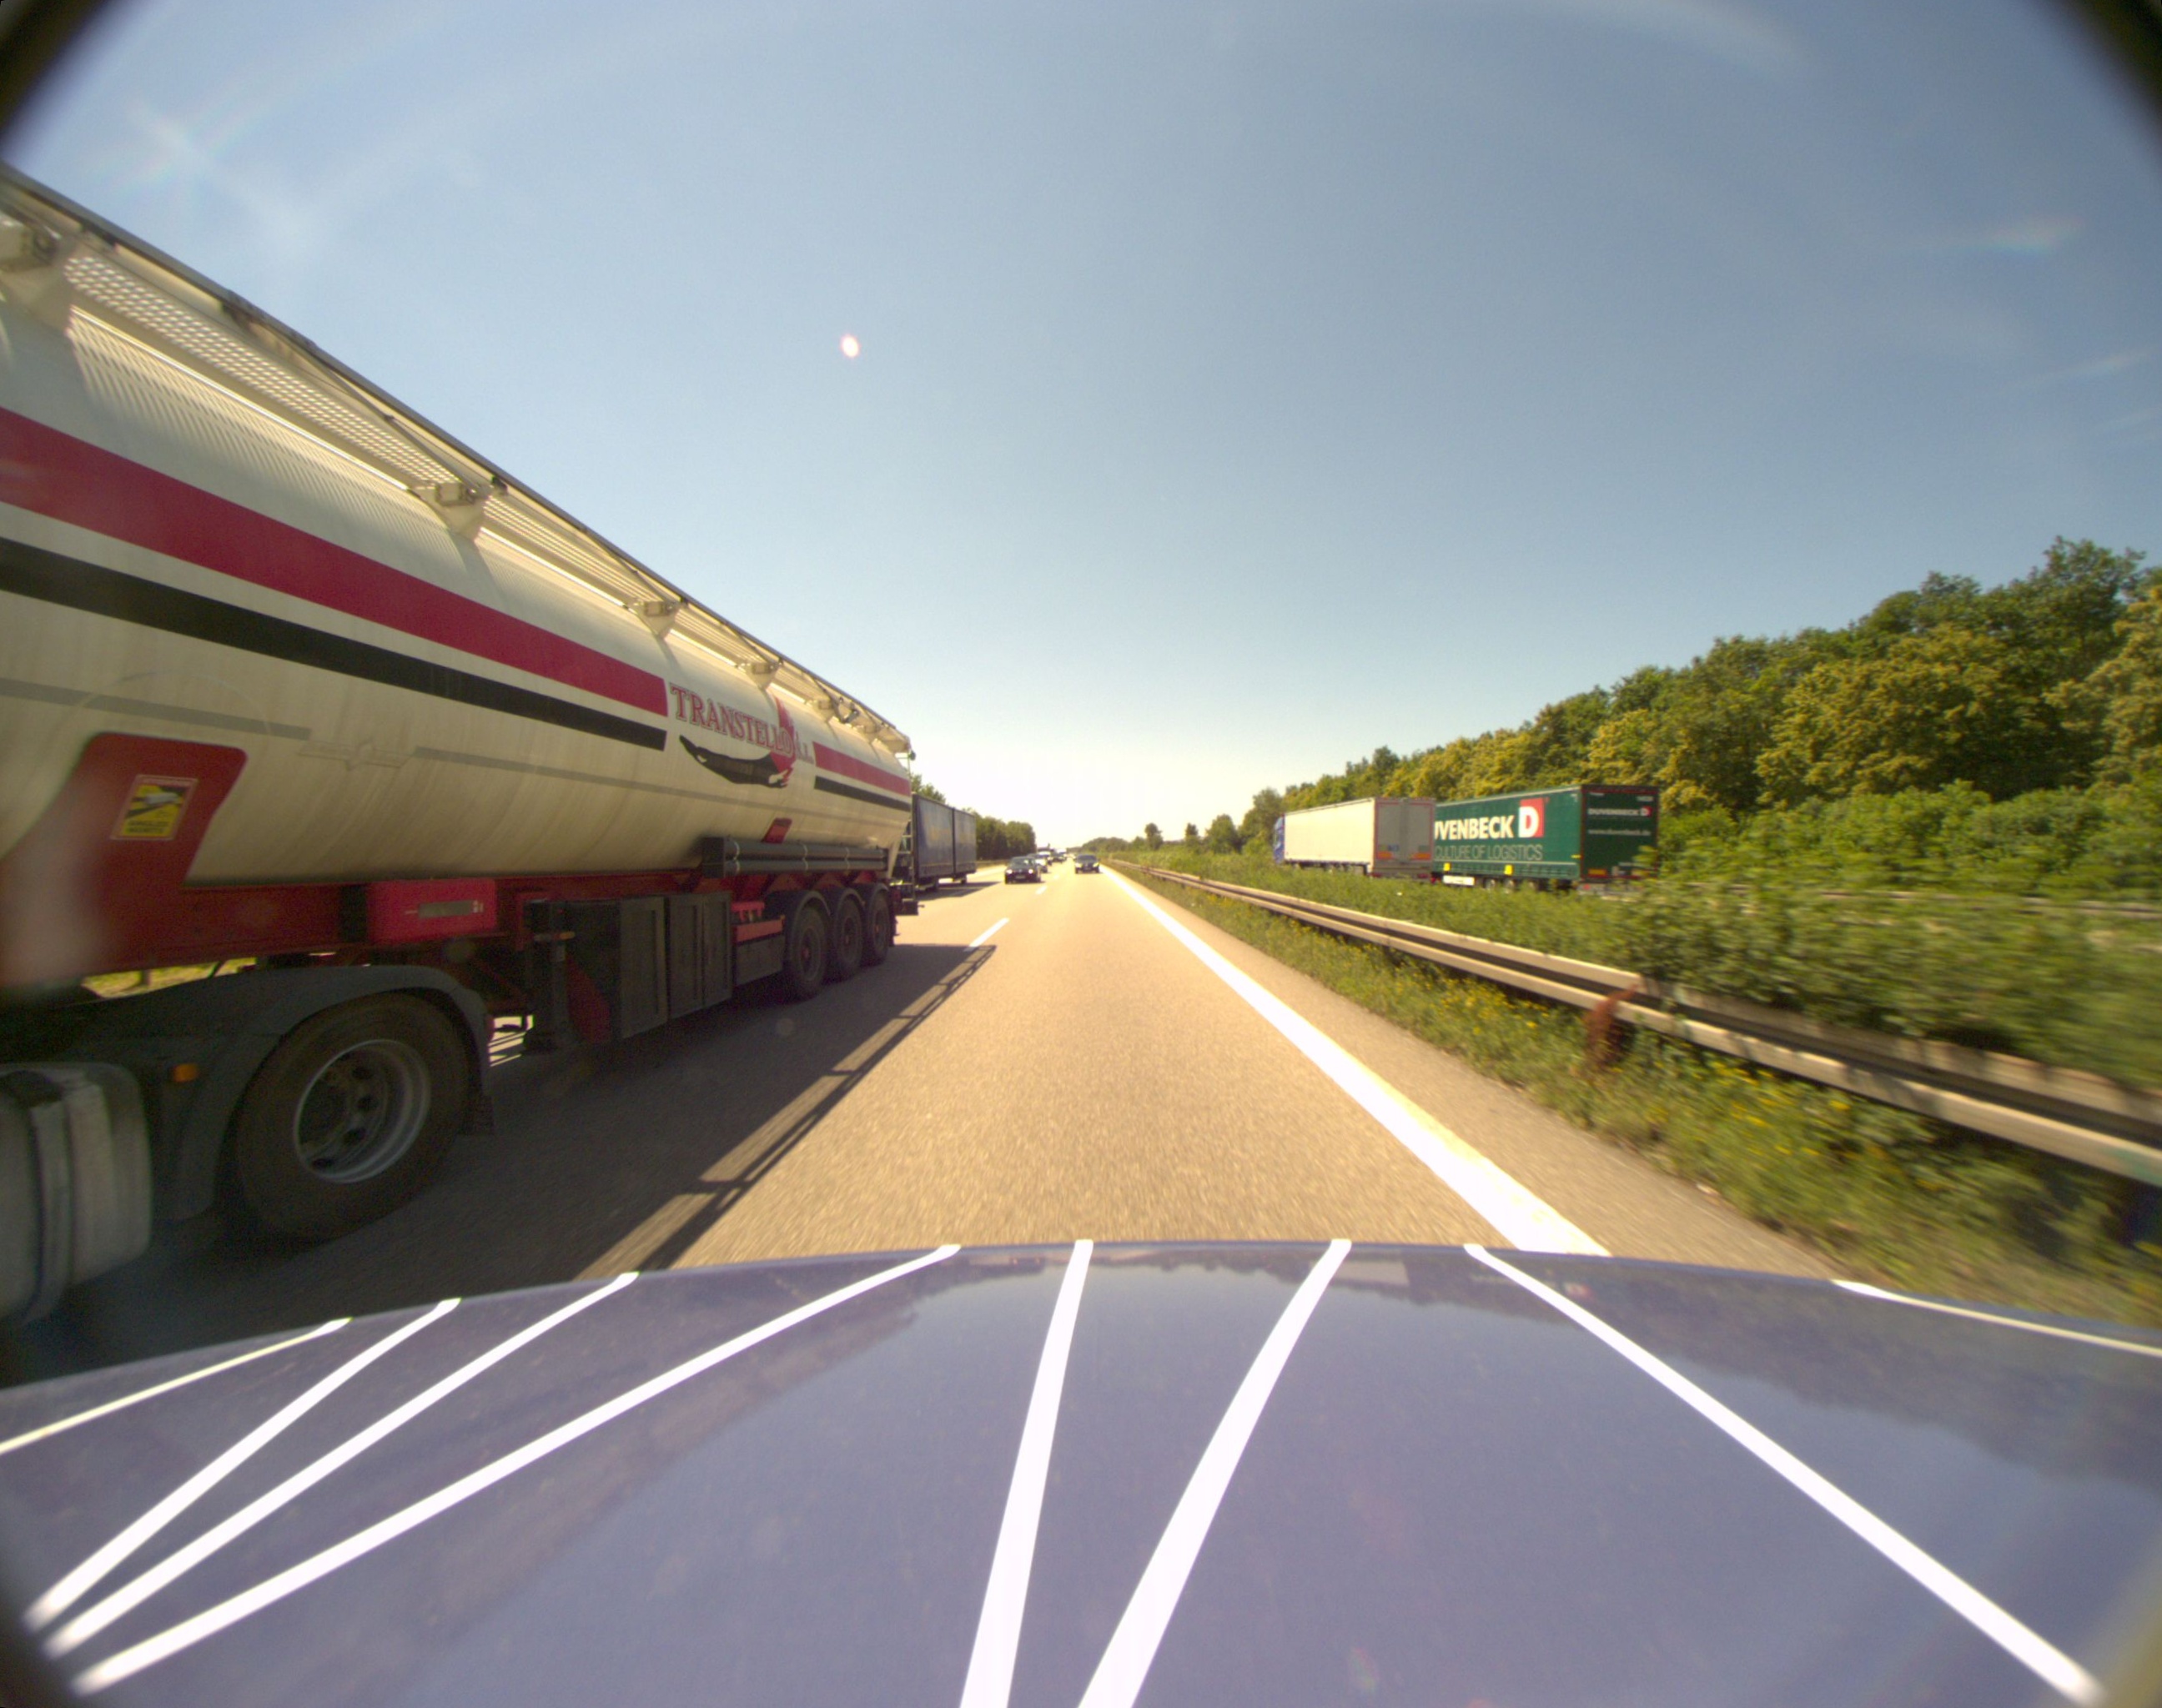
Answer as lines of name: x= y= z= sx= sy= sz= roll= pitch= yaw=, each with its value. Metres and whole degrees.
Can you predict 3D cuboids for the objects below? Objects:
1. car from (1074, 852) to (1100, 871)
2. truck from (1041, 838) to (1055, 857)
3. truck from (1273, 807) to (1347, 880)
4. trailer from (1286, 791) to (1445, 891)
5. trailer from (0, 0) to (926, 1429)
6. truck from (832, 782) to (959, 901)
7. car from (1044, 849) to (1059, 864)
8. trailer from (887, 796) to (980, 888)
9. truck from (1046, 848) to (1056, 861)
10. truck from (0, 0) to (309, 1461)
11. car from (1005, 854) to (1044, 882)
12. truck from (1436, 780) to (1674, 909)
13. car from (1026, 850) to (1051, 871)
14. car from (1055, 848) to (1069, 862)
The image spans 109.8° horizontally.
car: x=0.390 y=0.564 z=58.114 sx=1.887 sy=1.341 sz=4.467 roll=-1 pitch=0 yaw=-1
truck: x=-7.467 y=-1.371 z=173.701 sx=2.797 sy=4.180 sz=10.805 roll=-1 pitch=0 yaw=-1
truck: x=13.353 y=-0.585 z=44.748 sx=2.877 sy=3.986 sz=5.000 roll=-1 pitch=1 yaw=1
trailer: x=13.308 y=-0.561 z=37.409 sx=2.877 sy=3.986 sz=13.517 roll=-1 pitch=0 yaw=1
trailer: x=-4.330 y=-0.485 z=7.303 sx=2.797 sy=4.180 sz=12.353 roll=-1 pitch=0 yaw=1
truck: x=-7.424 y=-0.481 z=32.313 sx=2.797 sy=4.180 sz=10.805 roll=-1 pitch=0 yaw=-1
car: x=-3.780 y=0.352 z=97.994 sx=1.887 sy=1.861 sz=4.467 roll=-1 pitch=0 yaw=-1
trailer: x=-7.481 y=-0.569 z=40.371 sx=2.797 sy=4.180 sz=10.805 roll=-1 pitch=0 yaw=0
truck: x=-9.413 y=0.143 z=239.935 sx=2.797 sy=4.180 sz=10.805 roll=-1 pitch=0 yaw=-1
truck: x=-4.530 y=-0.354 z=0.473 sx=2.797 sy=4.180 sz=5.000 roll=-1 pitch=1 yaw=2
car: x=-3.043 y=0.752 z=41.980 sx=1.841 sy=1.409 sz=4.496 roll=-1 pitch=0 yaw=-1
truck: x=17.517 y=-0.327 z=29.341 sx=3.021 sy=4.090 sz=9.999 roll=-1 pitch=0 yaw=1
car: x=-3.486 y=0.514 z=62.890 sx=1.887 sy=1.634 sz=3.999 roll=-1 pitch=0 yaw=-1
car: x=-2.906 y=0.164 z=118.529 sx=1.998 sy=2.002 sz=4.000 roll=-1 pitch=0 yaw=1
